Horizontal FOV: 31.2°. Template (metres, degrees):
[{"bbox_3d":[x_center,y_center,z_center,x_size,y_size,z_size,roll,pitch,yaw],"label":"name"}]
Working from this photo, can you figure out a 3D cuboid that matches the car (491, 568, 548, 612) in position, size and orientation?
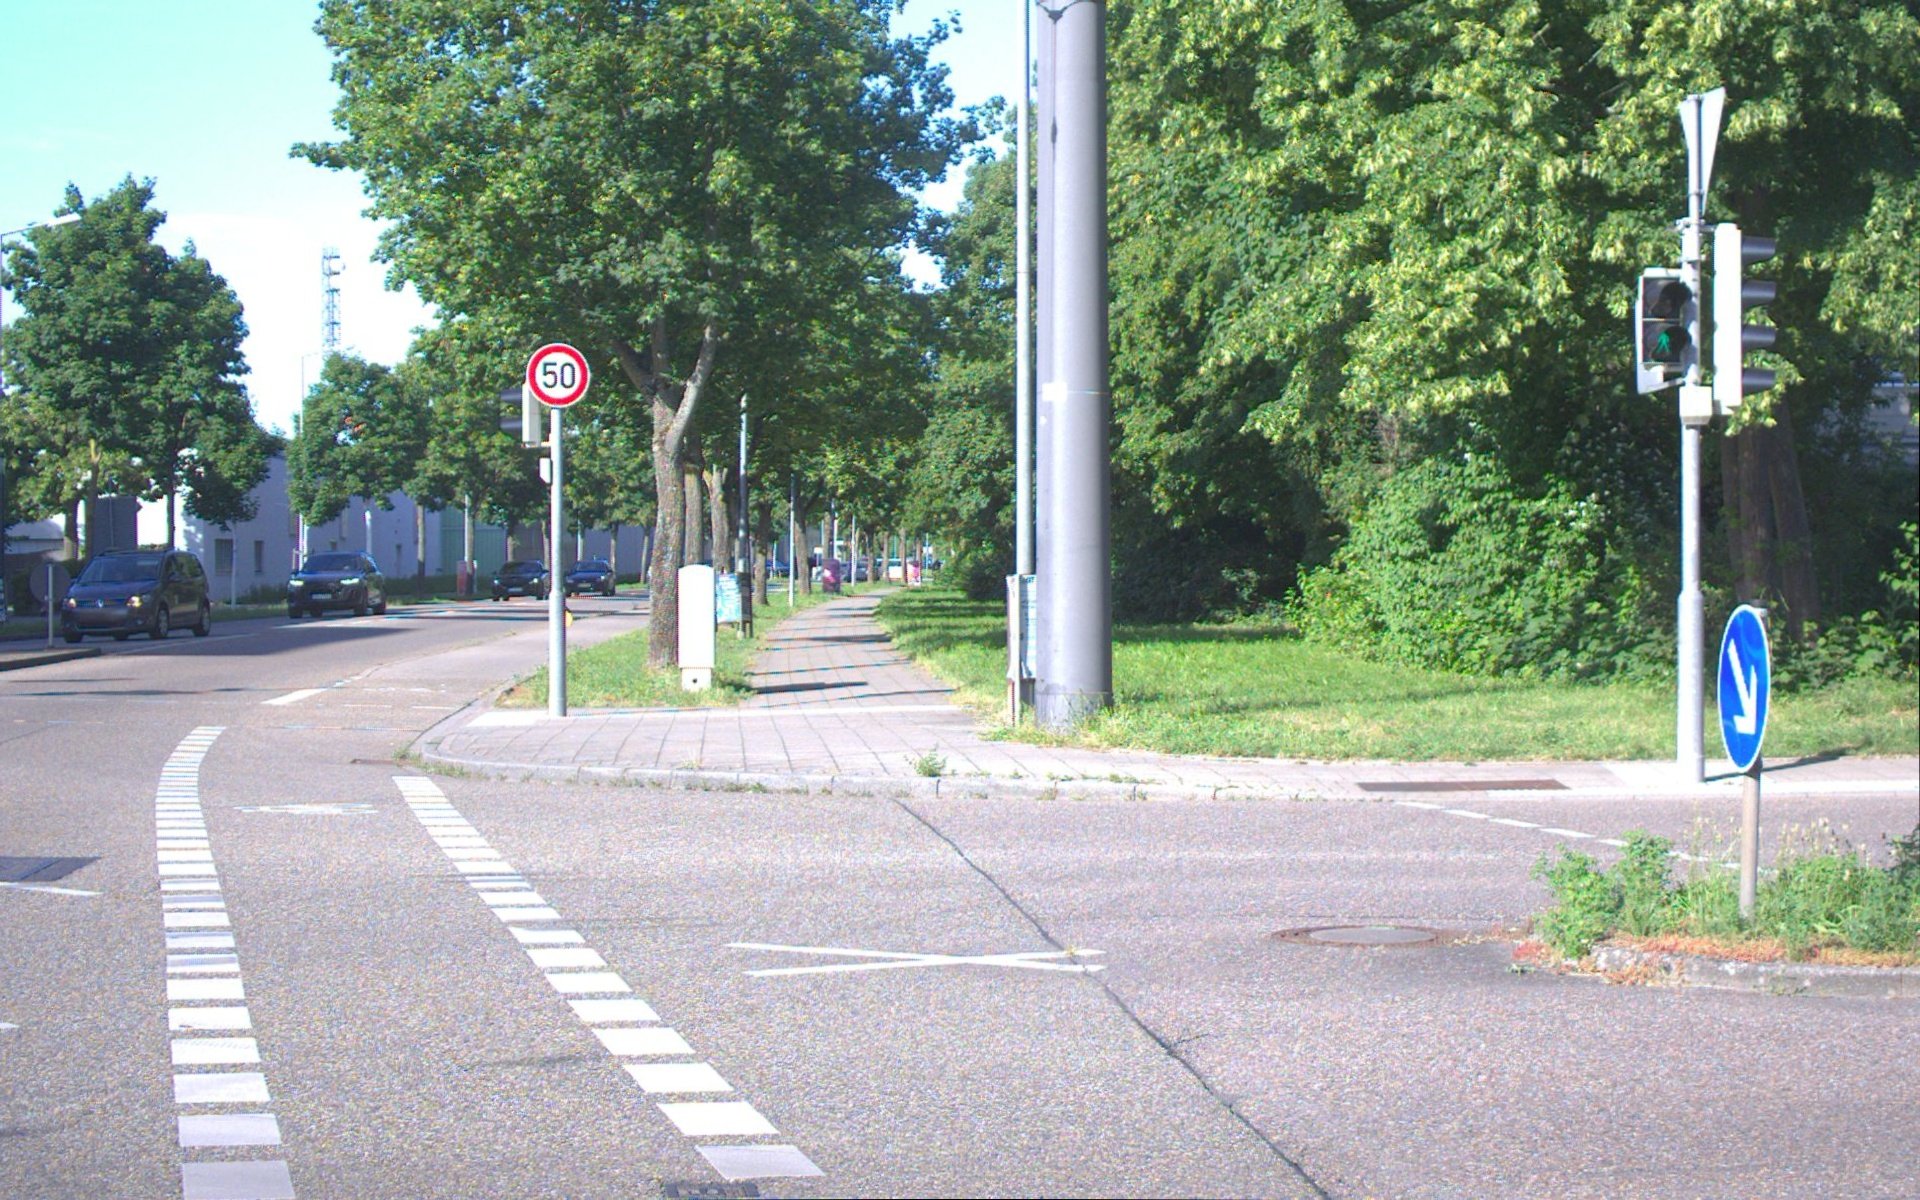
[{"bbox_3d":[-15.784,-0.375,123.337,1.678,1.529,4.001,0,1,-3],"label":"car"}]

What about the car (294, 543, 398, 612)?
[{"bbox_3d":[-16.028,-0.614,89.952,1.993,1.731,5.200,0,1,-3],"label":"car"}]

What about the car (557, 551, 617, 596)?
[{"bbox_3d":[-15.163,-1.082,139.769,1.895,1.752,4.000,2,0,1],"label":"car"}]

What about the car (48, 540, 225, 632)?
[{"bbox_3d":[-14.667,-0.272,61.445,1.994,1.566,4.000,0,1,3],"label":"car"}]
